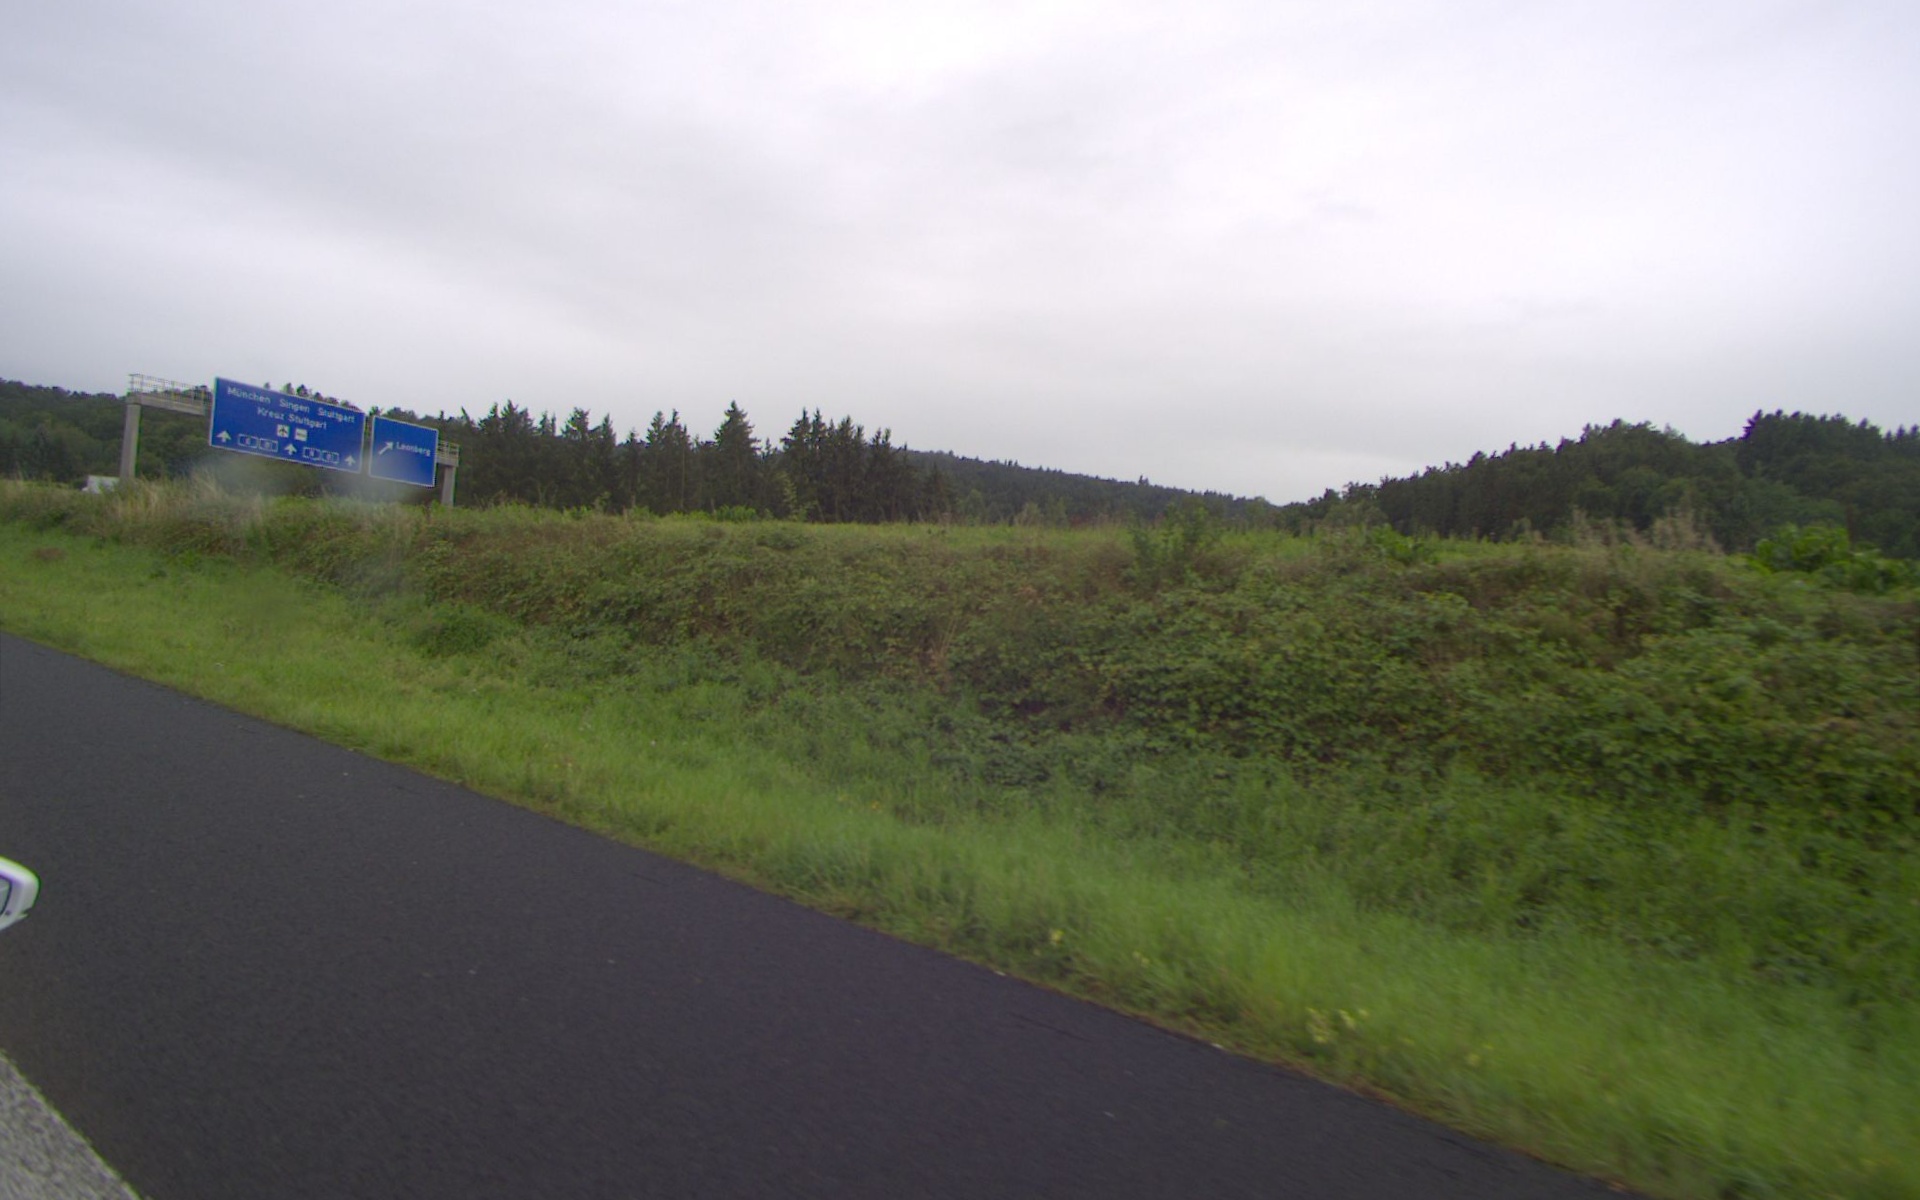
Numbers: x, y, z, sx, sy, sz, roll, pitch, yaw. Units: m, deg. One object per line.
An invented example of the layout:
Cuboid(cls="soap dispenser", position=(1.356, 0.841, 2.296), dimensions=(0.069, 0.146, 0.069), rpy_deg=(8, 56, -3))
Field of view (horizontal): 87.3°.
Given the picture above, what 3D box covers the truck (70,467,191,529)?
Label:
Cuboid(cls="truck", position=(-64.766, -7.954, 78.569), dimensions=(8.123, 3.701, 3.838), rpy_deg=(7, -2, 25))
